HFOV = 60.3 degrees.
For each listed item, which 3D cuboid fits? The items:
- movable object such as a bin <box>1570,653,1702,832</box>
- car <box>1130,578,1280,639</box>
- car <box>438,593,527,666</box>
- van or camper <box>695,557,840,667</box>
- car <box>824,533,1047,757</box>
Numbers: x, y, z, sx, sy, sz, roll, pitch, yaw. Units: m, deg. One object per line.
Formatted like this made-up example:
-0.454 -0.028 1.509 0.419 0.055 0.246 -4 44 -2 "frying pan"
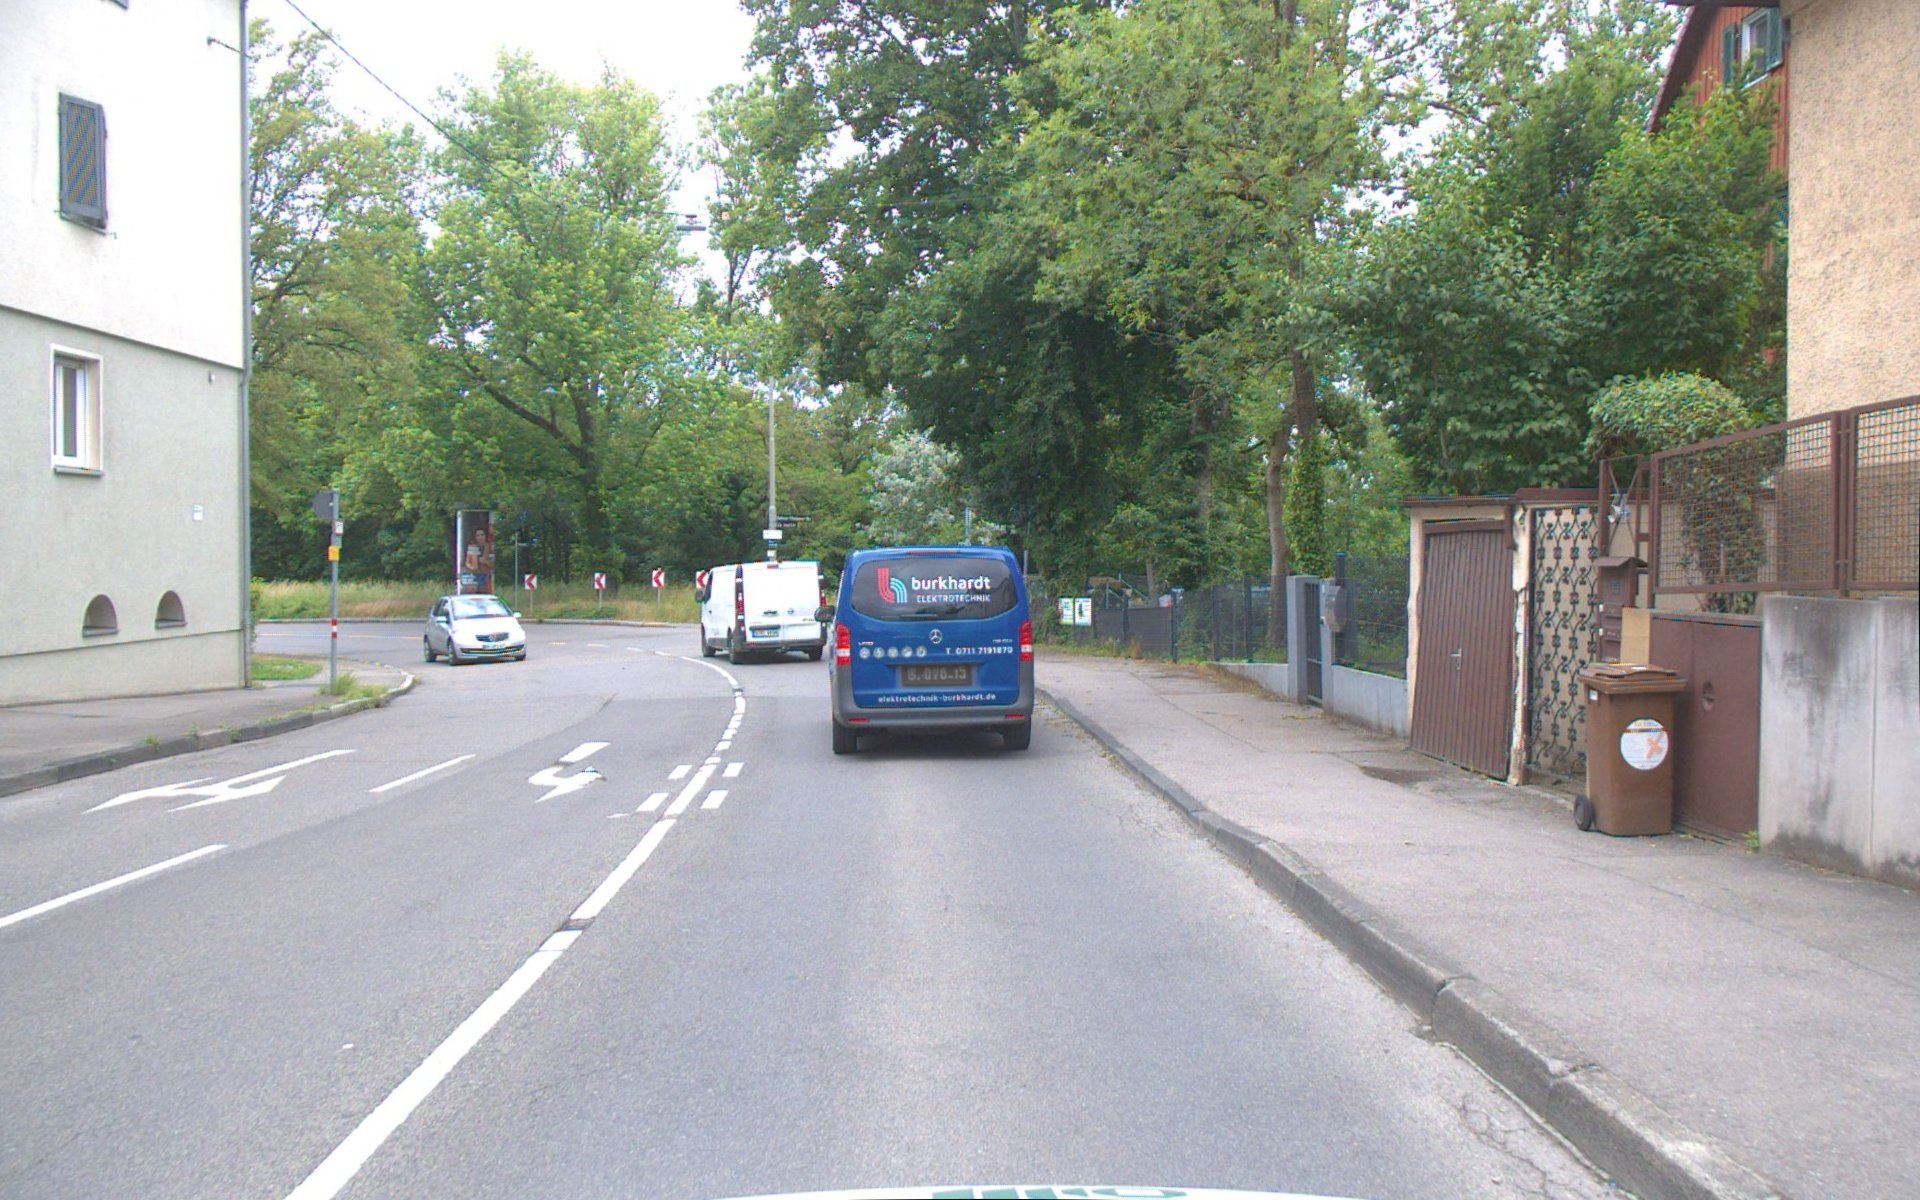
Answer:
3.845 0.796 9.430 0.452 0.940 0.566 -3 0 -3 "movable object such as a bin"
6.711 0.253 45.314 3.604 1.423 1.822 4 -1 -19 "car"
-11.636 0.675 40.183 1.698 1.633 3.951 -2 1 -21 "car"
-4.067 0.218 34.237 1.989 1.990 4.871 -4 1 -18 "van or camper"
-0.357 0.370 16.456 1.876 1.869 4.290 -2 1 -4 "car"
